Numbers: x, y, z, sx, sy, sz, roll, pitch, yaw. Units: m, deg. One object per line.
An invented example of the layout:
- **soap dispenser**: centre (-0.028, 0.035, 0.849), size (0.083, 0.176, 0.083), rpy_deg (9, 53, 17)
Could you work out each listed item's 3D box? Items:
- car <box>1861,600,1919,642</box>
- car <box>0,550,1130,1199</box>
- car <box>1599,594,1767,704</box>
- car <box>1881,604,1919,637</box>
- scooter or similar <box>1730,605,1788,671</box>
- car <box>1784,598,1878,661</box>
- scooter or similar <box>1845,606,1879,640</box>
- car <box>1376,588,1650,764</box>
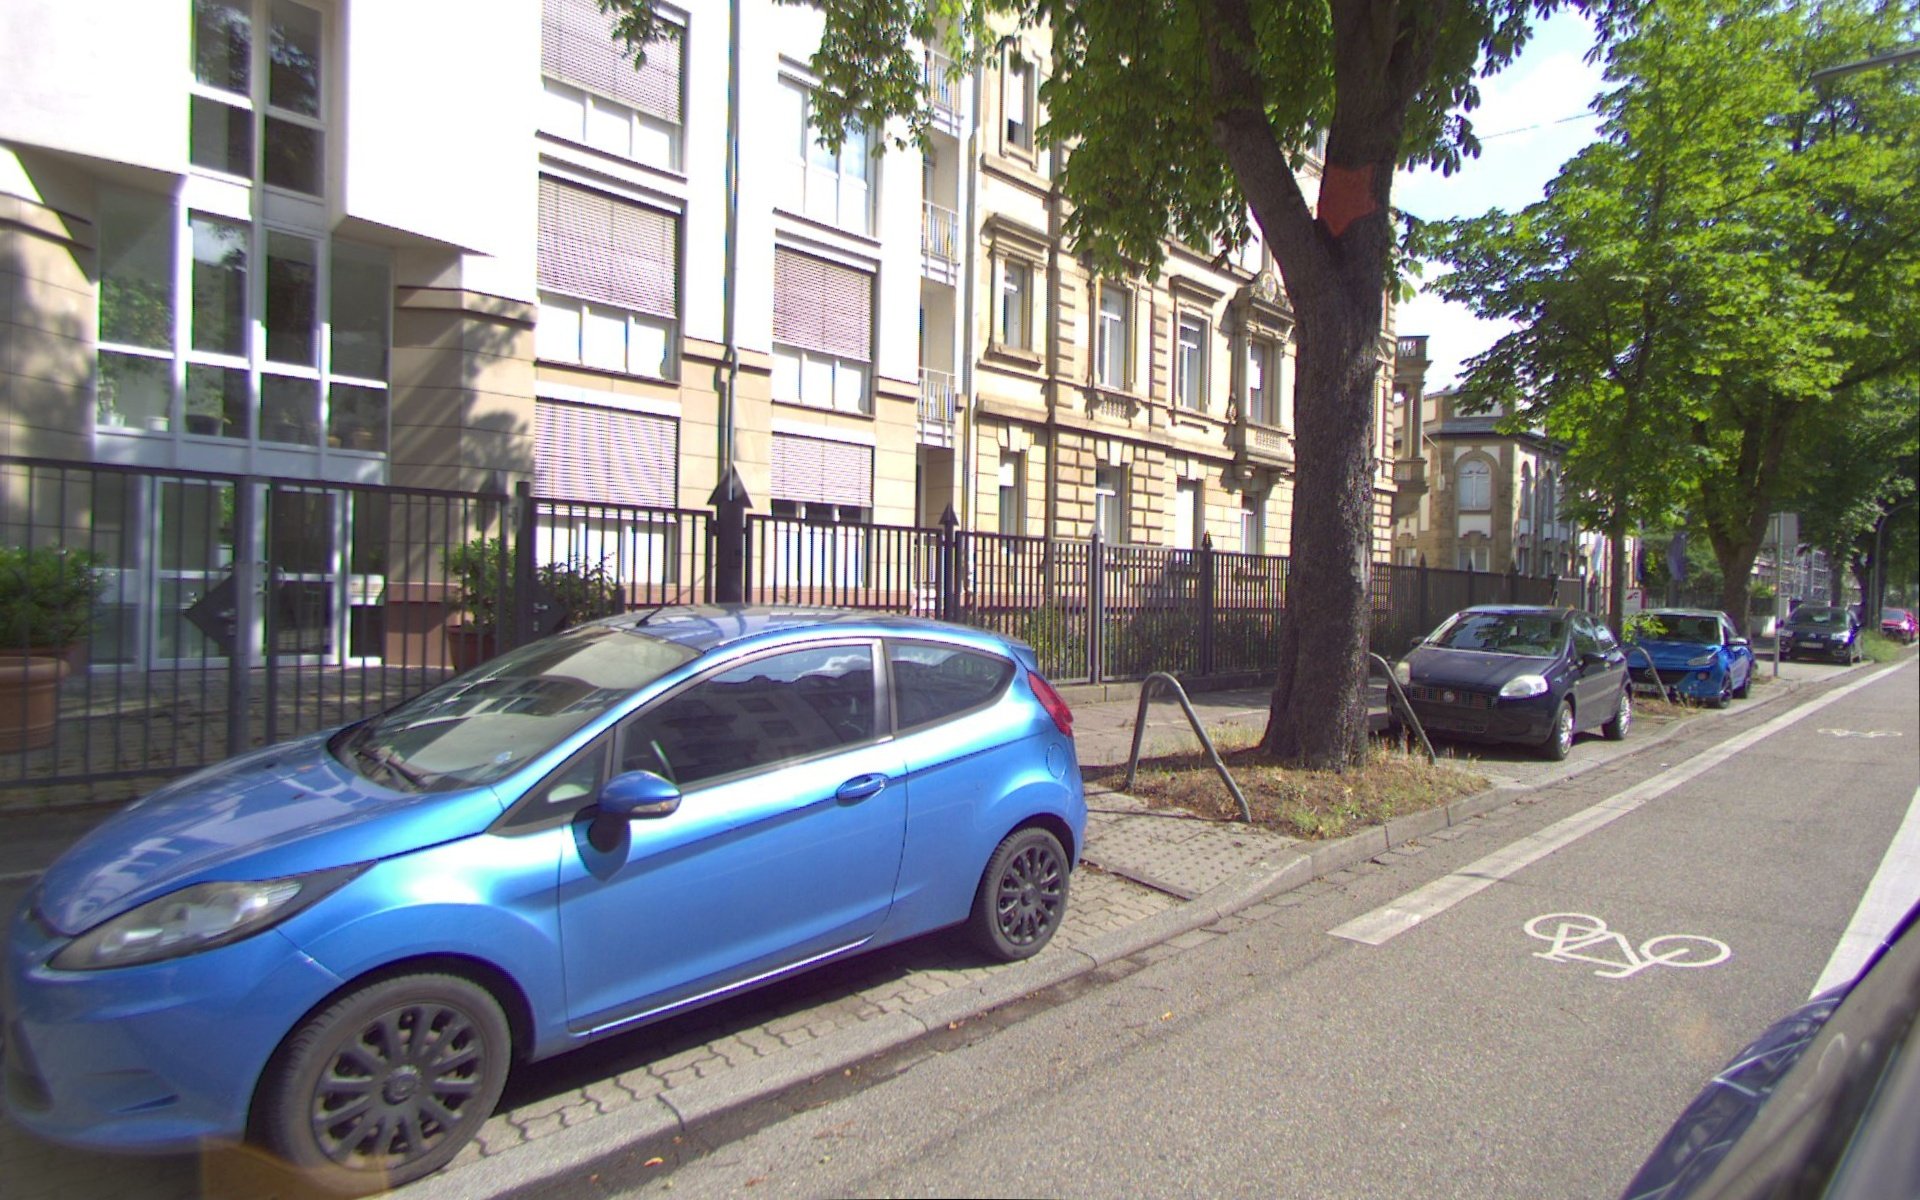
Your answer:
- **car**: centre (41.485, 0.884, 44.986), size (1.877, 1.697, 4.213), rpy_deg (4, 2, 44)
- **car**: centre (-1.161, 0.650, 3.962), size (3.783, 1.514, 1.626), rpy_deg (0, 3, -44)
- **car**: centre (11.855, 0.713, 16.517), size (1.641, 1.514, 3.568), rpy_deg (4, 2, 45)
- **car**: centre (46.792, 1.001, 50.107), size (1.600, 1.445, 3.542), rpy_deg (6, 4, 41)
- **scooter or similar**: centre (16.914, 0.794, 21.446), size (0.436, 1.315, 1.176), rpy_deg (4, 1, 15)
- **car**: centre (25.351, 0.792, 29.406), size (4.134, 1.610, 1.698), rpy_deg (0, 3, -45)
- **scooter or similar**: centre (35.364, 0.897, 39.680), size (1.233, 1.252, 0.343), rpy_deg (2, 3, -19)
- **car**: centre (6.111, 0.685, 11.000), size (1.640, 1.514, 3.697), rpy_deg (4, 2, 44)
